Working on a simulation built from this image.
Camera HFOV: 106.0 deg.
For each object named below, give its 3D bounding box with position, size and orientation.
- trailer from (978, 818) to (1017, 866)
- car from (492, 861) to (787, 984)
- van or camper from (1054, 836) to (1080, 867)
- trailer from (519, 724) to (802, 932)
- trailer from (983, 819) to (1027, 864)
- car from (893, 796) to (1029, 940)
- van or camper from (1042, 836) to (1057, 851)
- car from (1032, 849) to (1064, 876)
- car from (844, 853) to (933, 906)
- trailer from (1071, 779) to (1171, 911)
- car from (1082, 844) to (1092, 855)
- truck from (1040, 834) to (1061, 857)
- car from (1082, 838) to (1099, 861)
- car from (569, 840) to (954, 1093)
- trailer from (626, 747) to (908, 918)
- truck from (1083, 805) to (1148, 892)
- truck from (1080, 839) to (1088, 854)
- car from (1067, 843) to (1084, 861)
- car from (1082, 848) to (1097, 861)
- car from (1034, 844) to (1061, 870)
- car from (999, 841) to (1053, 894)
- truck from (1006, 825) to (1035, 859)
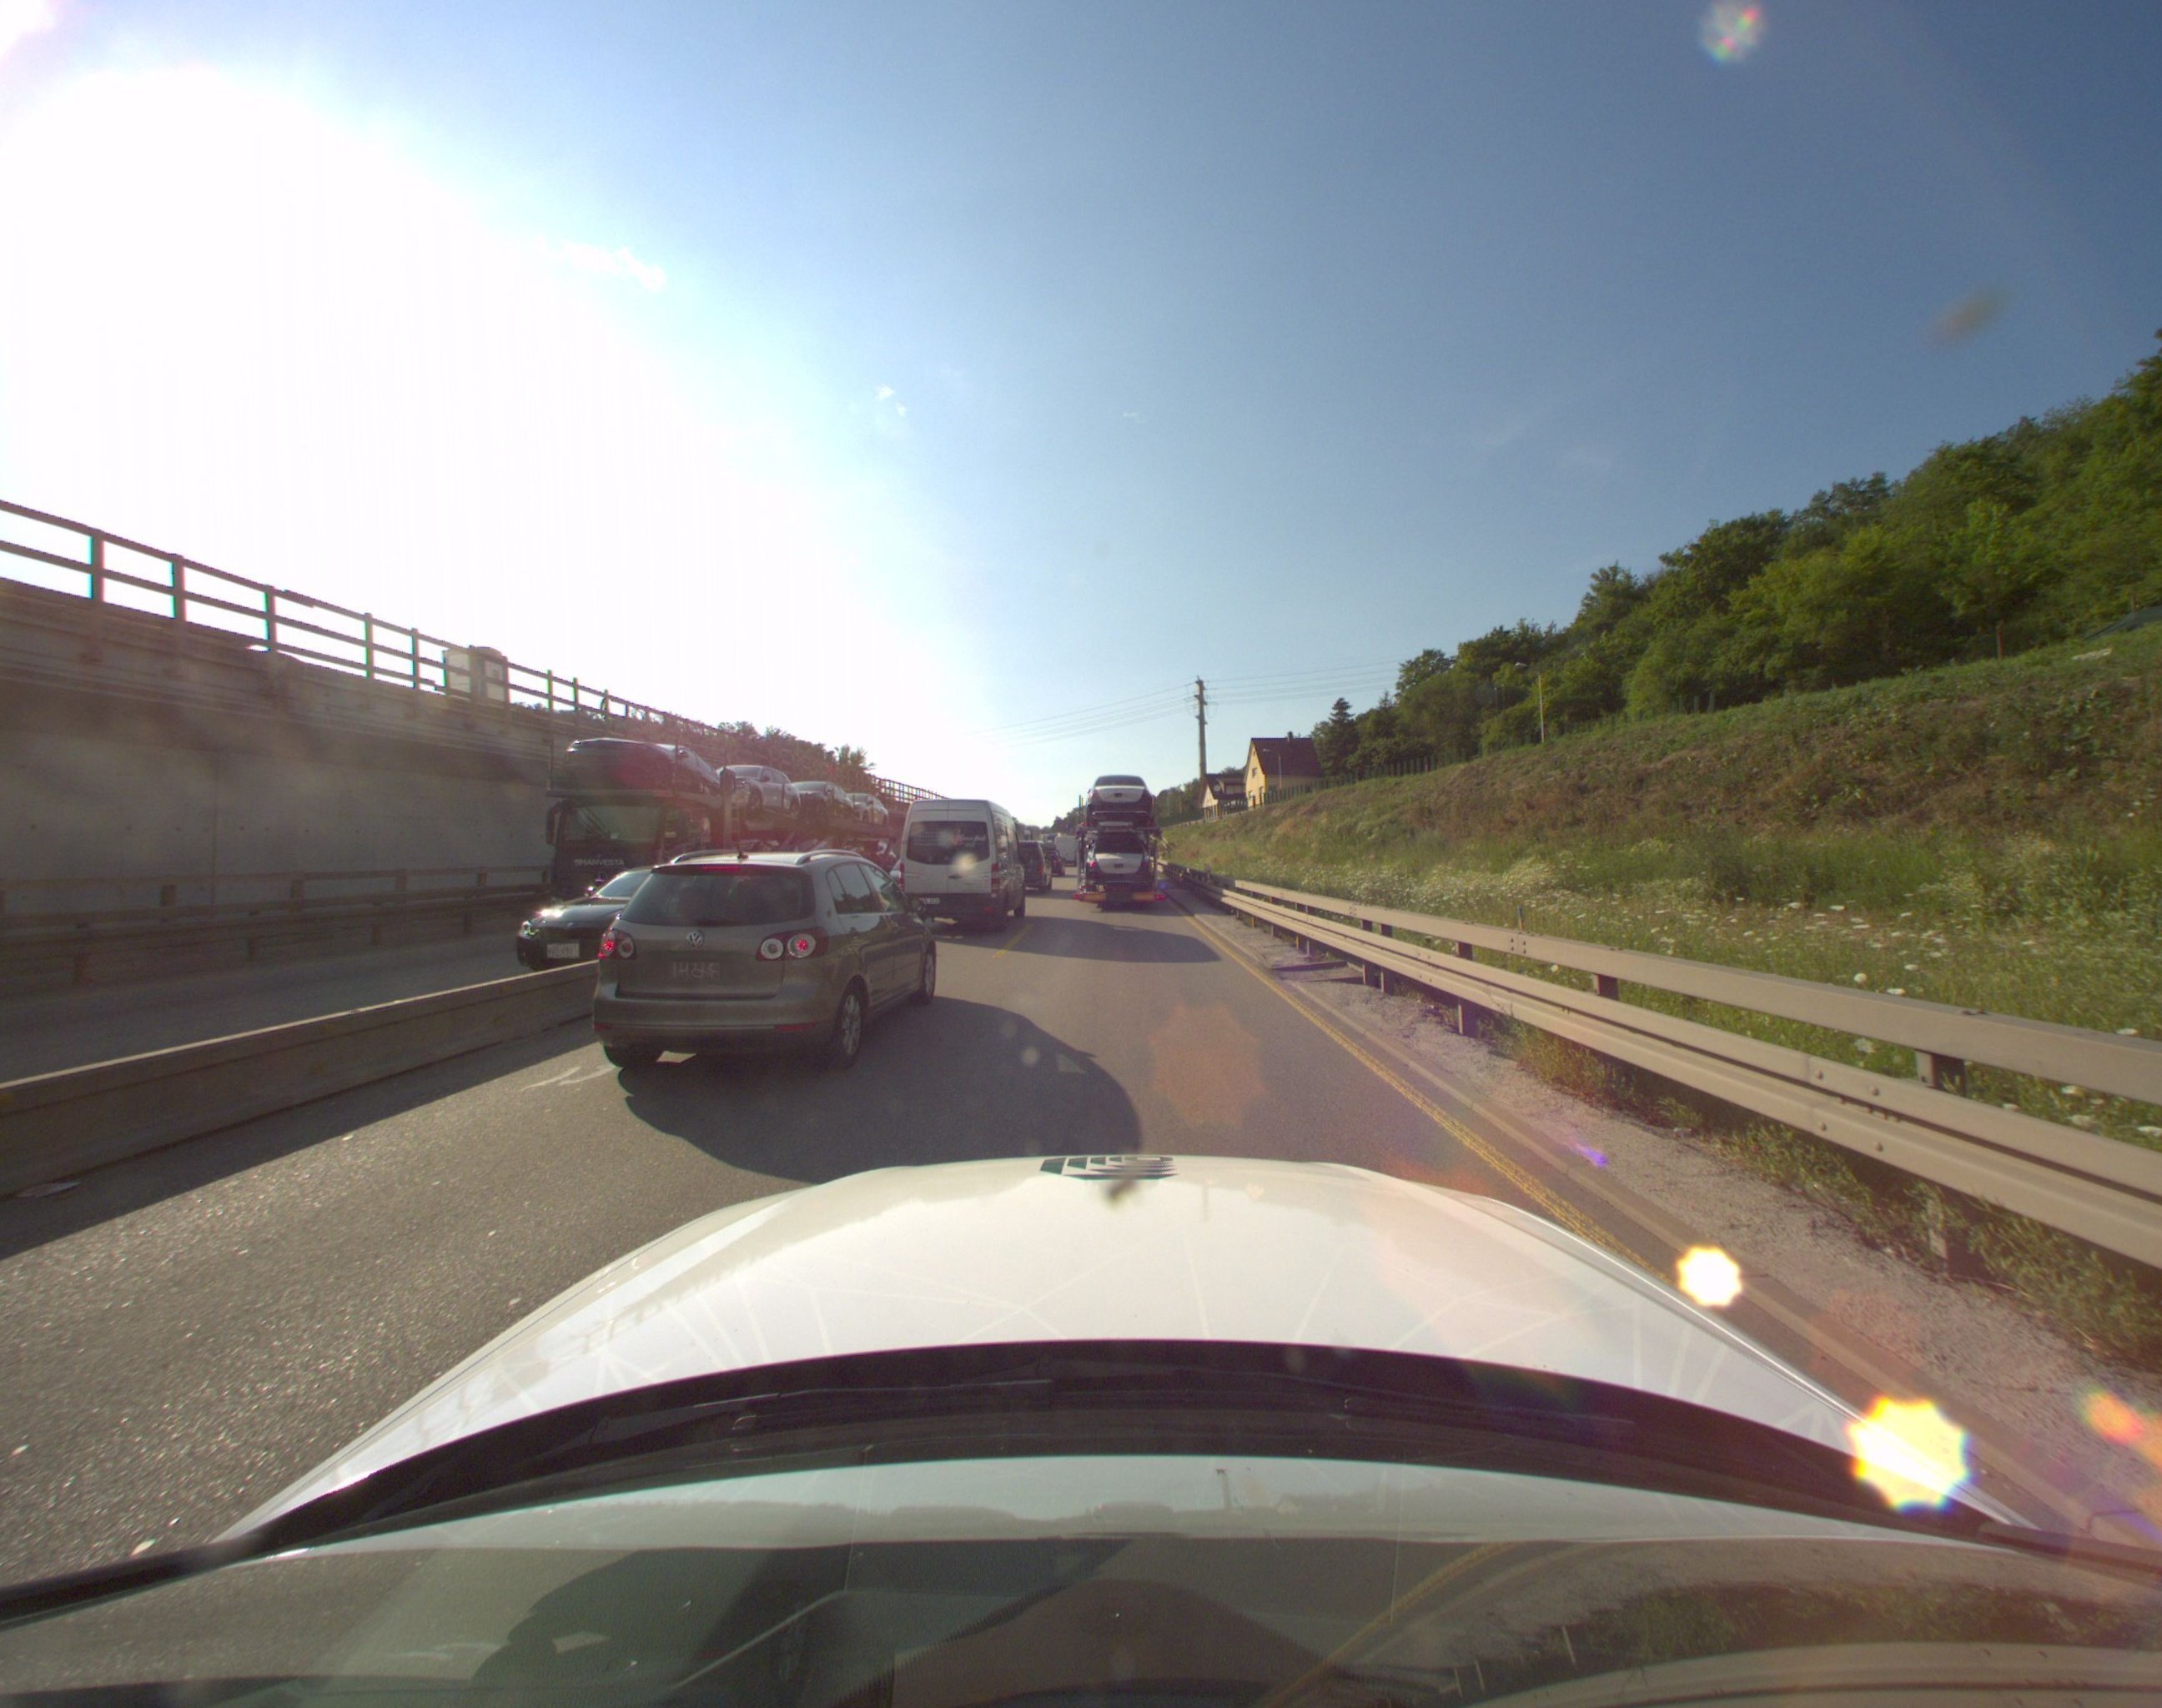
[{"bbox_3d":[-7.505,-1.091,73.616,2.755,4.141,5.978,0,1,1],"label":"trailer"},{"bbox_3d":[-6.115,0.840,12.039,1.702,1.445,4.602,0,0,2],"label":"car"},{"bbox_3d":[-1.149,-0.225,70.401,1.961,2.591,5.044,0,0,2],"label":"van or camper"},{"bbox_3d":[-9.365,-0.497,19.352,2.761,4.031,7.211,0,0,2],"label":"trailer"},{"bbox_3d":[-7.366,-1.251,81.162,2.754,4.141,14.030,0,1,1],"label":"trailer"},{"bbox_3d":[-2.419,0.225,18.011,1.986,2.648,5.533,-1,1,2],"label":"car"},{"bbox_3d":[-5.856,-2.019,154.122,2.304,2.662,6.457,-3,1,1],"label":"van or camper"},{"bbox_3d":[-1.906,0.477,48.255,1.720,1.522,3.973,0,1,0],"label":"car"},{"bbox_3d":[-6.136,0.766,26.468,1.750,1.578,4.340,0,0,2],"label":"car"},{"bbox_3d":[1.308,-0.240,29.559,2.672,3.534,15.294,0,0,2],"label":"trailer"},{"bbox_3d":[1.639,-1.220,229.529,2.761,2.992,5.596,0,0,0],"label":"car"},{"bbox_3d":[-4.781,-1.316,129.014,2.706,3.424,8.141,-3,0,1],"label":"truck"},{"bbox_3d":[2.139,-1.019,187.329,3.435,5.035,9.649,0,1,-1],"label":"car"},{"bbox_3d":[-2.385,0.740,7.349,1.674,1.588,4.273,-1,-1,1],"label":"car"},{"bbox_3d":[-9.077,-0.478,27.070,2.761,4.031,15.770,0,0,2],"label":"trailer"},{"bbox_3d":[1.527,-0.221,36.941,2.672,3.534,7.196,0,0,2],"label":"truck"},{"bbox_3d":[0.810,-2.206,253.074,2.191,4.426,8.226,-1,0,-1],"label":"truck"},{"bbox_3d":[-0.602,-0.218,96.998,1.879,2.100,3.766,0,0,1],"label":"car"},{"bbox_3d":[1.219,0.041,117.869,1.986,1.860,4.002,-1,0,2],"label":"car"},{"bbox_3d":[-3.361,0.281,83.183,2.463,2.534,4.001,-1,0,1],"label":"car"},{"bbox_3d":[-2.052,0.500,31.439,1.802,1.904,3.999,0,-1,0],"label":"car"},{"bbox_3d":[-7.225,-1.372,97.749,2.850,4.008,5.659,0,0,1],"label":"truck"}]
